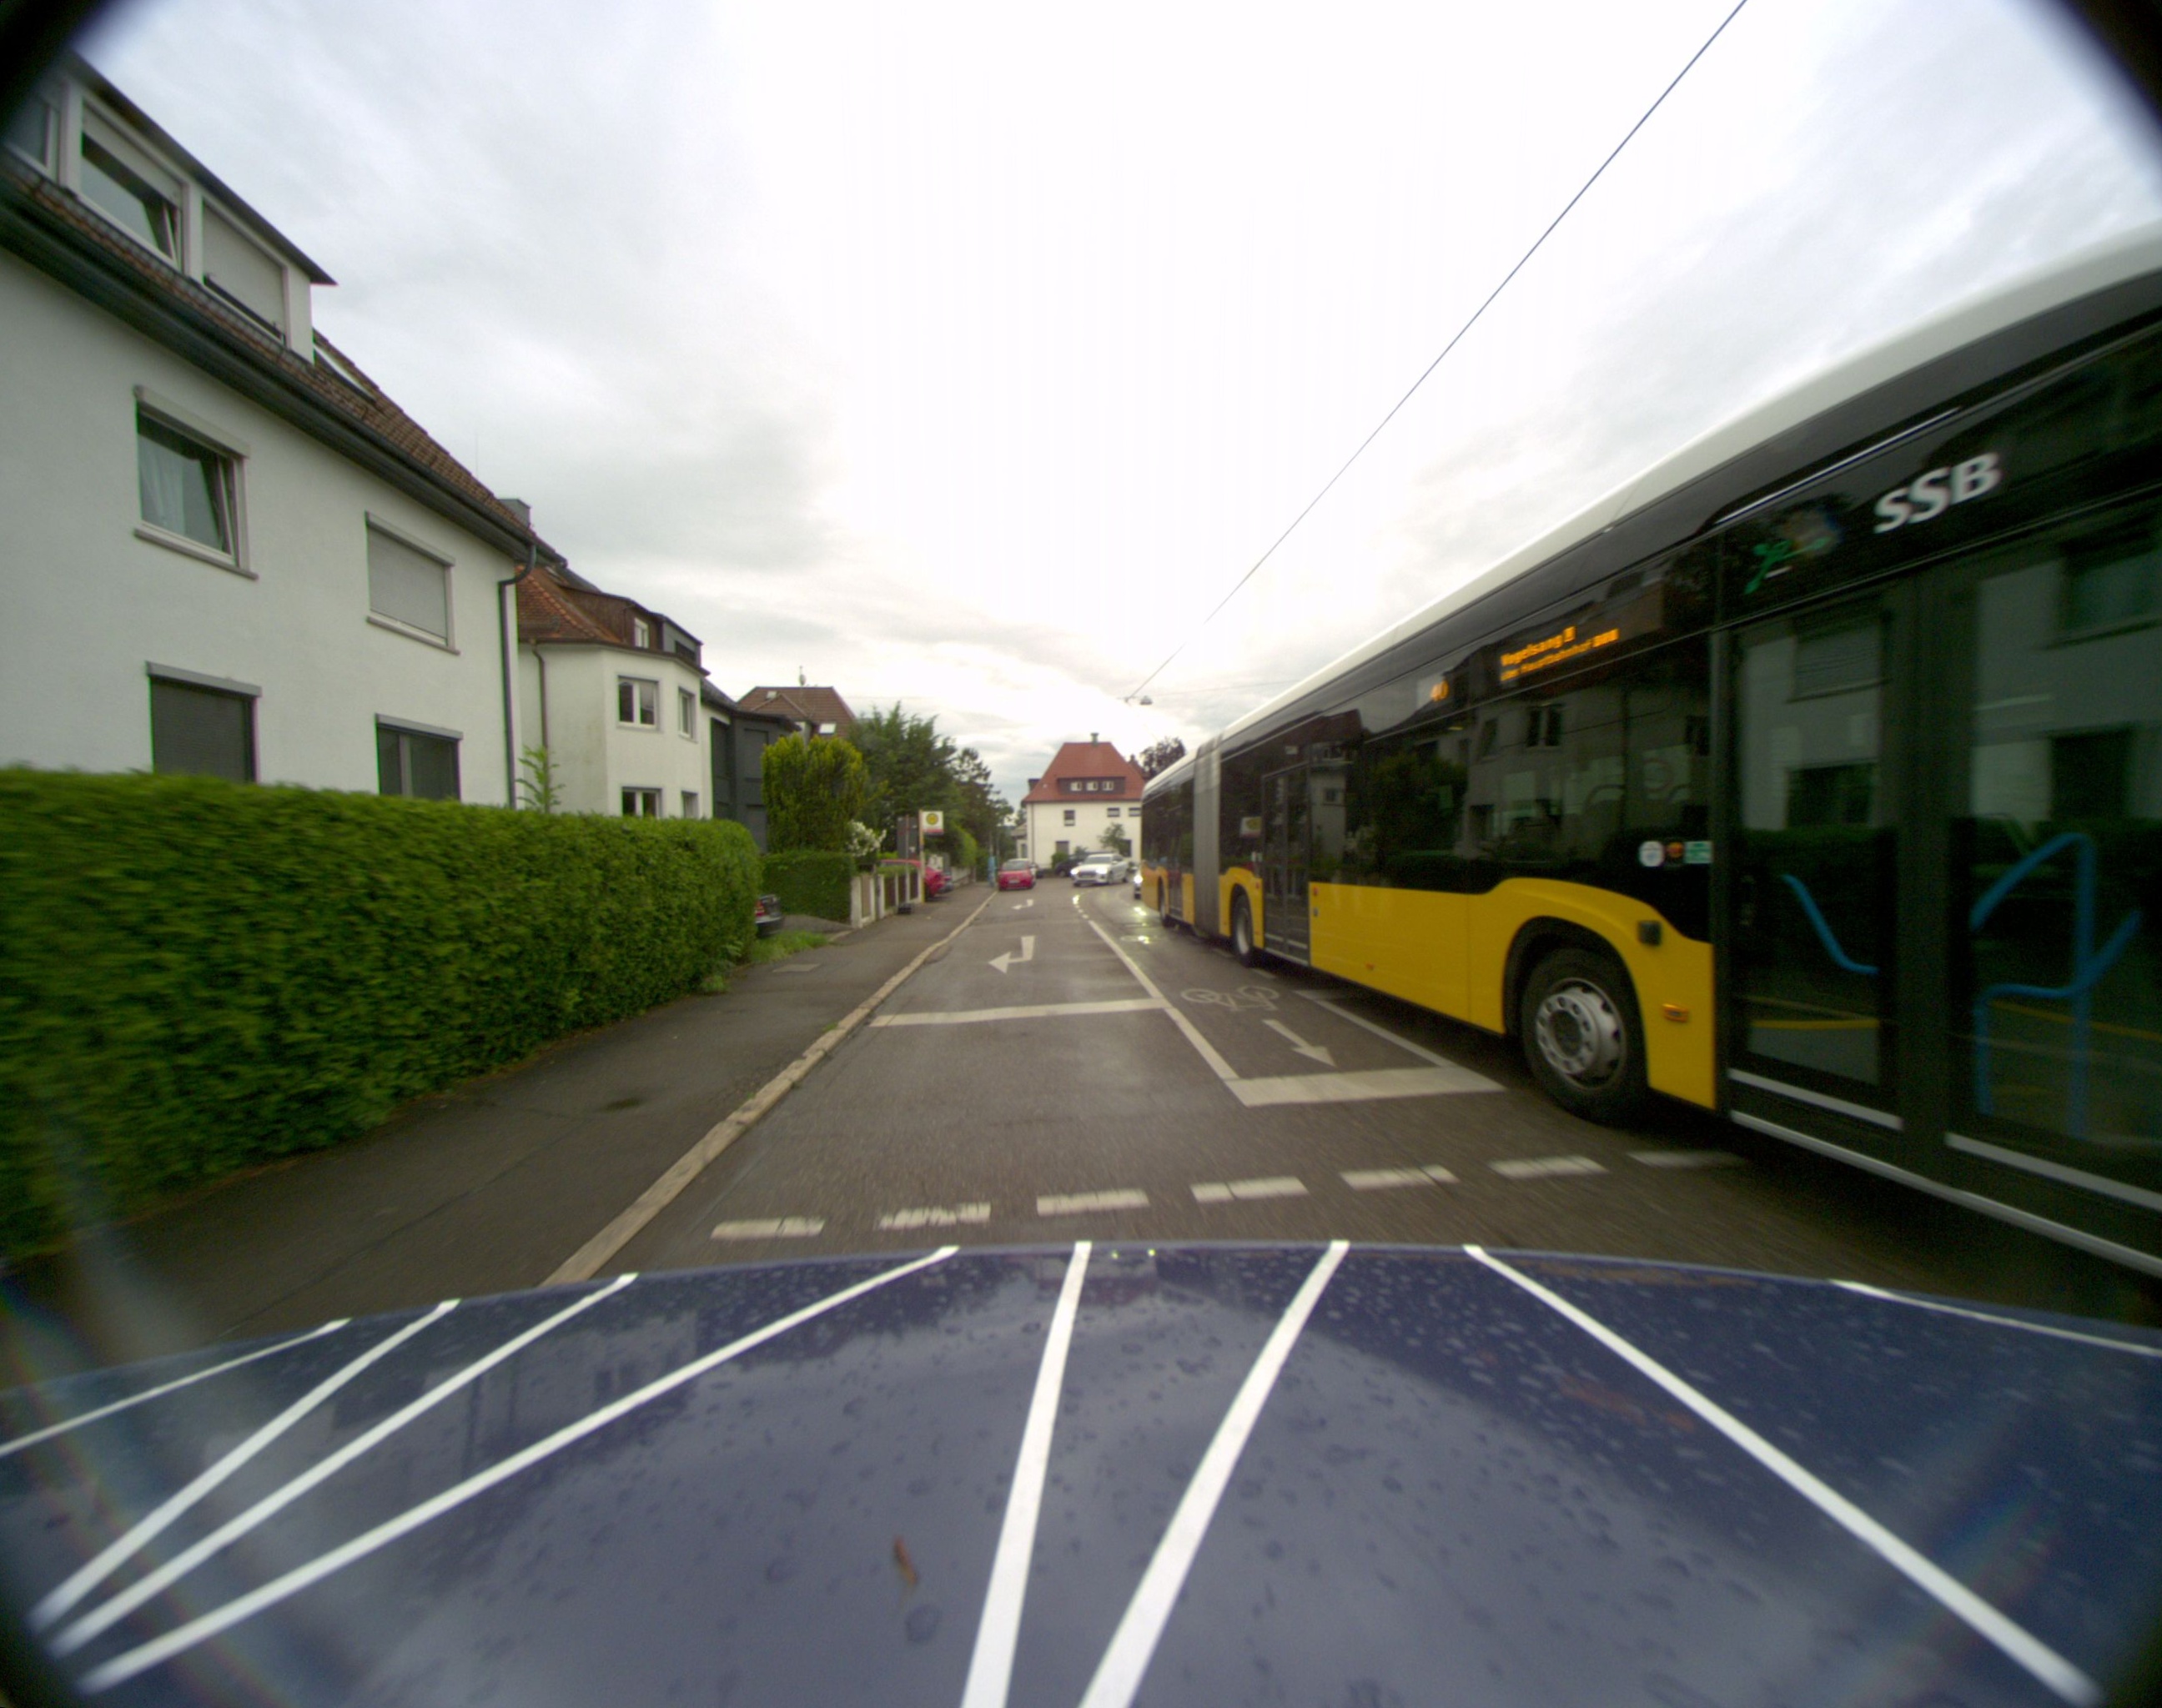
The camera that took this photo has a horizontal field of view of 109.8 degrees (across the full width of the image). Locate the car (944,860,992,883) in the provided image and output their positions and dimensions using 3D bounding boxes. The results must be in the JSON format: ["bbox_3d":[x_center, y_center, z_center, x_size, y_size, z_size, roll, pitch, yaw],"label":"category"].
[{"bbox_3d":[-9.987,1.551,67.479,3.998,1.849,1.771,-2,1,-4],"label":"car"}]

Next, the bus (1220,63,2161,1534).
[{"bbox_3d":[3.647,-0.128,5.576,2.908,3.378,9.036,-1,0,-4],"label":"bus"}]

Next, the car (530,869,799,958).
[{"bbox_3d":[-7.102,0.999,13.256,3.754,1.379,1.616,-1,-2,-4],"label":"car"}]

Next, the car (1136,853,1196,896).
[{"bbox_3d":[3.065,0.717,28.074,1.998,1.470,4.488,-1,0,5],"label":"car"}]

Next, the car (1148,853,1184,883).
[{"bbox_3d":[4.408,0.729,39.831,1.730,1.470,4.042,-1,0,5],"label":"car"}]

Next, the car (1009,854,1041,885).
[{"bbox_3d":[-3.346,0.889,45.747,1.749,1.663,4.646,-3,0,-4],"label":"car"}]

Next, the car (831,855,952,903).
[{"bbox_3d":[-7.249,0.910,29.161,4.094,1.740,1.995,0,0,-33],"label":"car"}]

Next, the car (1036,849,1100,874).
[{"bbox_3d":[-1.060,0.625,62.641,4.913,1.937,1.943,-1,1,17],"label":"car"}]

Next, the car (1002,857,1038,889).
[{"bbox_3d":[-3.161,0.973,39.792,1.615,1.528,3.540,-3,0,-1],"label":"car"}]

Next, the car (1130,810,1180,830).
[{"bbox_3d":[7.485,-3.413,76.787,4.736,1.799,1.944,2,2,16],"label":"car"}]

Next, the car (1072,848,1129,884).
[{"bbox_3d":[1.089,0.576,39.459,1.793,1.689,3.895,-2,1,19],"label":"car"}]

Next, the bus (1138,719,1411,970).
[{"bbox_3d":[2.977,-0.132,14.689,2.684,3.378,8.678,-1,0,-3],"label":"bus"}]

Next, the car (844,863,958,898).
[{"bbox_3d":[-7.553,1.092,32.255,4.562,1.408,1.998,0,0,-9],"label":"car"}]
